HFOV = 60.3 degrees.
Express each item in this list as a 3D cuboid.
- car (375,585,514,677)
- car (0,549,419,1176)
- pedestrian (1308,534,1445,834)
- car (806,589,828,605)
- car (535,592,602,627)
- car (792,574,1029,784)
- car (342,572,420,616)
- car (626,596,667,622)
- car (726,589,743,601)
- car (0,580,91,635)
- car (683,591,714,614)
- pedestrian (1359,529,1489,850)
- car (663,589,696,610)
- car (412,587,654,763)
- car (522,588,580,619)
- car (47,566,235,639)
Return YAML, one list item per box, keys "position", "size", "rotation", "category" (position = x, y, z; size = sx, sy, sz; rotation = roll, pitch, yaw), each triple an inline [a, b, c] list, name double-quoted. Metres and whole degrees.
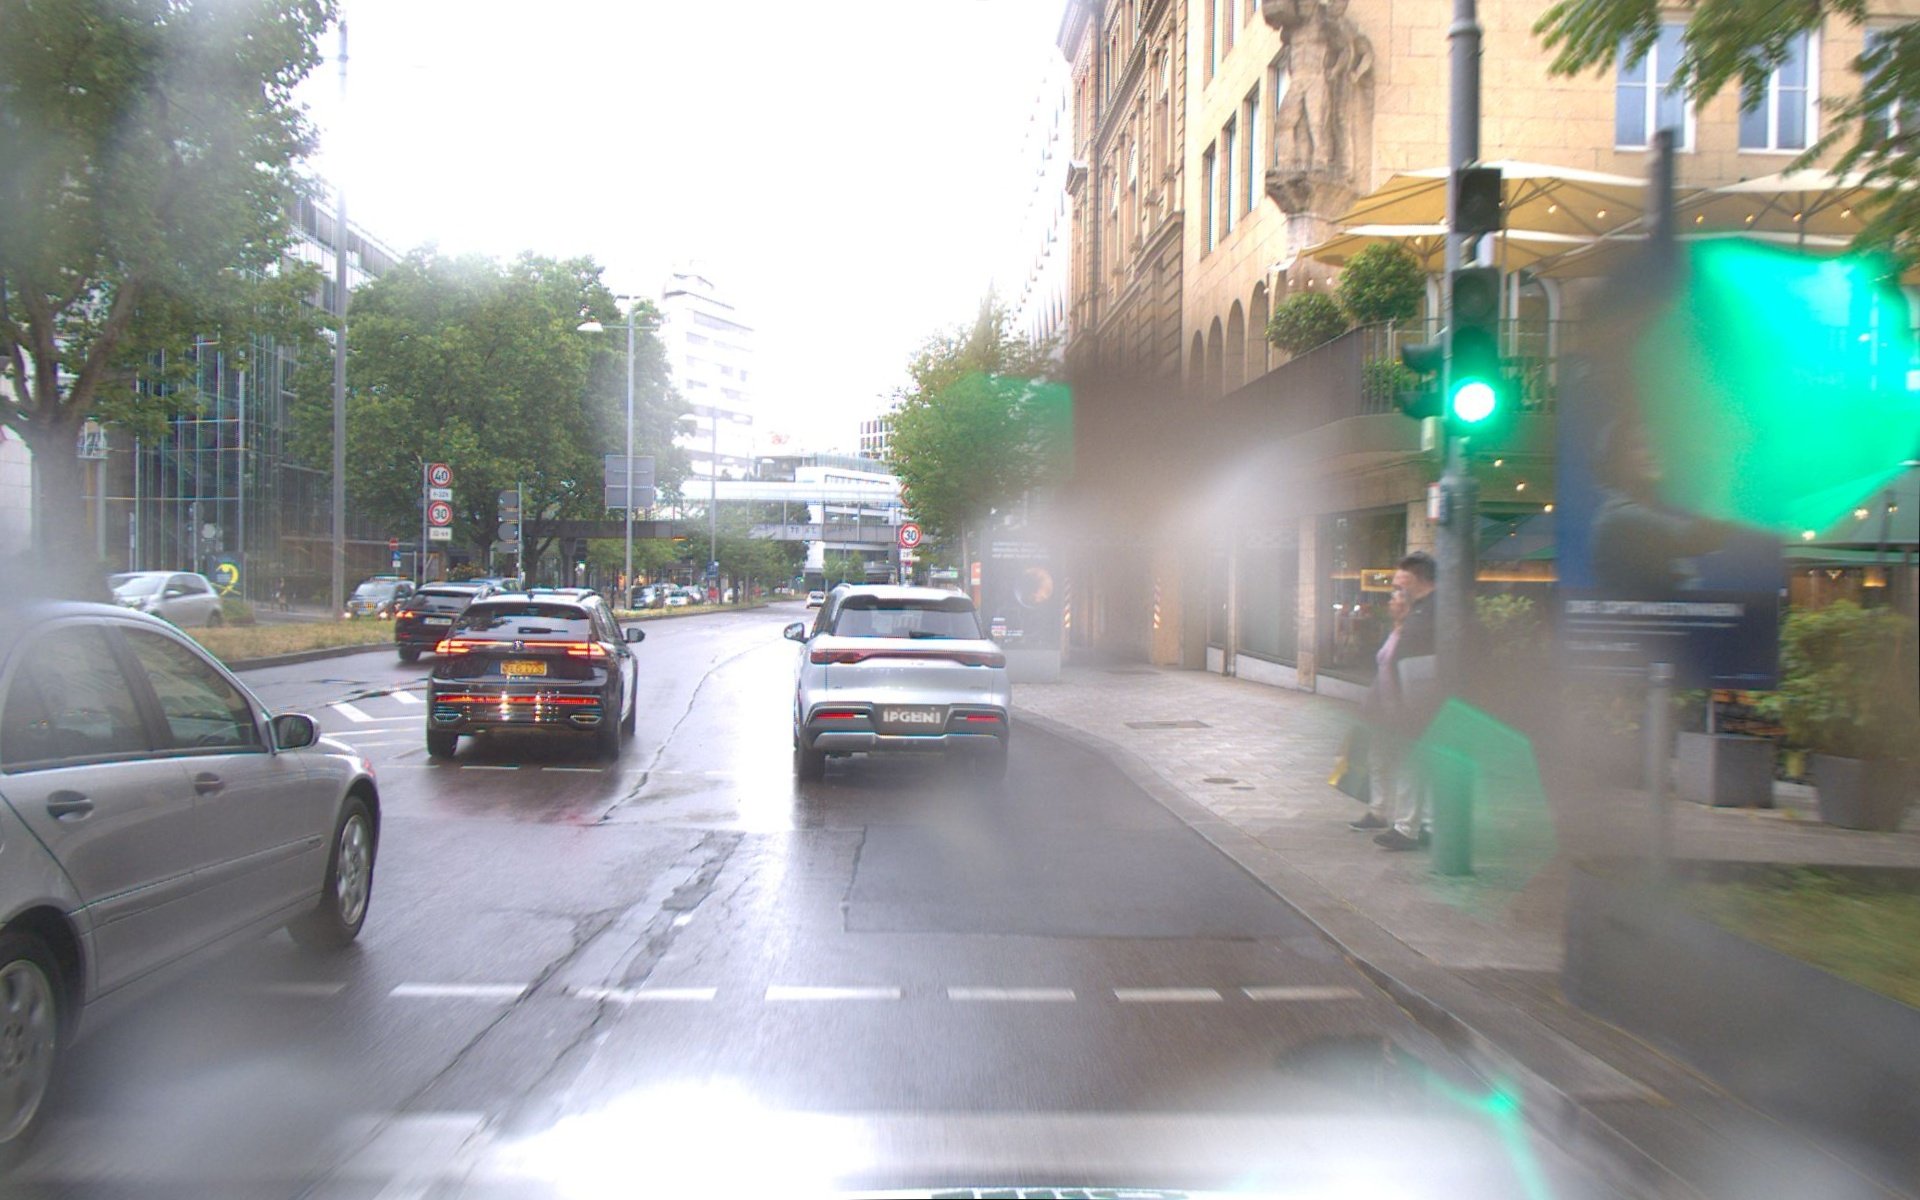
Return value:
- position: [-9.836, 0.548, 31.843]
  size: [1.777, 1.606, 3.994]
  rotation: [2, 0, -7]
  category: "car"
- position: [-3.162, 0.613, 5.179]
  size: [1.639, 1.505, 4.358]
  rotation: [1, 0, -3]
  category: "car"
- position: [2.697, 0.529, 10.726]
  size: [0.583, 1.867, 0.623]
  rotation: [1, -1, -29]
  category: "pedestrian"
- position: [-12.481, -0.257, 144.446]
  size: [1.620, 1.365, 3.999]
  rotation: [2, 0, -1]
  category: "car"
- position: [-16.984, 0.419, 71.915]
  size: [1.822, 1.467, 4.313]
  rotation: [1, -1, 1]
  category: "car"
- position: [-0.551, 0.646, 15.154]
  size: [1.864, 1.650, 3.996]
  rotation: [1, -1, -5]
  category: "car"
- position: [-22.791, -0.215, 65.233]
  size: [1.794, 1.668, 4.088]
  rotation: [1, -1, -4]
  category: "car"
- position: [-18.107, 0.527, 95.686]
  size: [1.666, 1.462, 4.580]
  rotation: [1, -1, -2]
  category: "car"
- position: [-27.776, -0.566, 203.633]
  size: [1.564, 1.384, 4.116]
  rotation: [1, -1, 0]
  category: "car"
- position: [-25.459, 0.209, 45.123]
  size: [1.559, 1.440, 3.402]
  rotation: [1, -1, 2]
  category: "car"
- position: [-20.491, 0.191, 129.759]
  size: [1.836, 1.710, 4.678]
  rotation: [1, -1, -3]
  category: "car"
- position: [2.777, 0.524, 9.941]
  size: [0.619, 1.867, 0.563]
  rotation: [1, -1, 1]
  category: "pedestrian"
- position: [-19.392, -0.006, 114.363]
  size: [1.564, 1.384, 4.116]
  rotation: [1, -1, 0]
  category: "car"
- position: [-4.009, 0.659, 16.130]
  size: [1.740, 1.482, 3.994]
  rotation: [1, -1, -7]
  category: "car"
- position: [-20.032, 0.201, 81.225]
  size: [1.691, 1.457, 4.395]
  rotation: [1, -1, 1]
  category: "car"
- position: [-16.656, 0.064, 33.869]
  size: [1.711, 1.388, 4.131]
  rotation: [1, -1, 1]
  category: "car"
